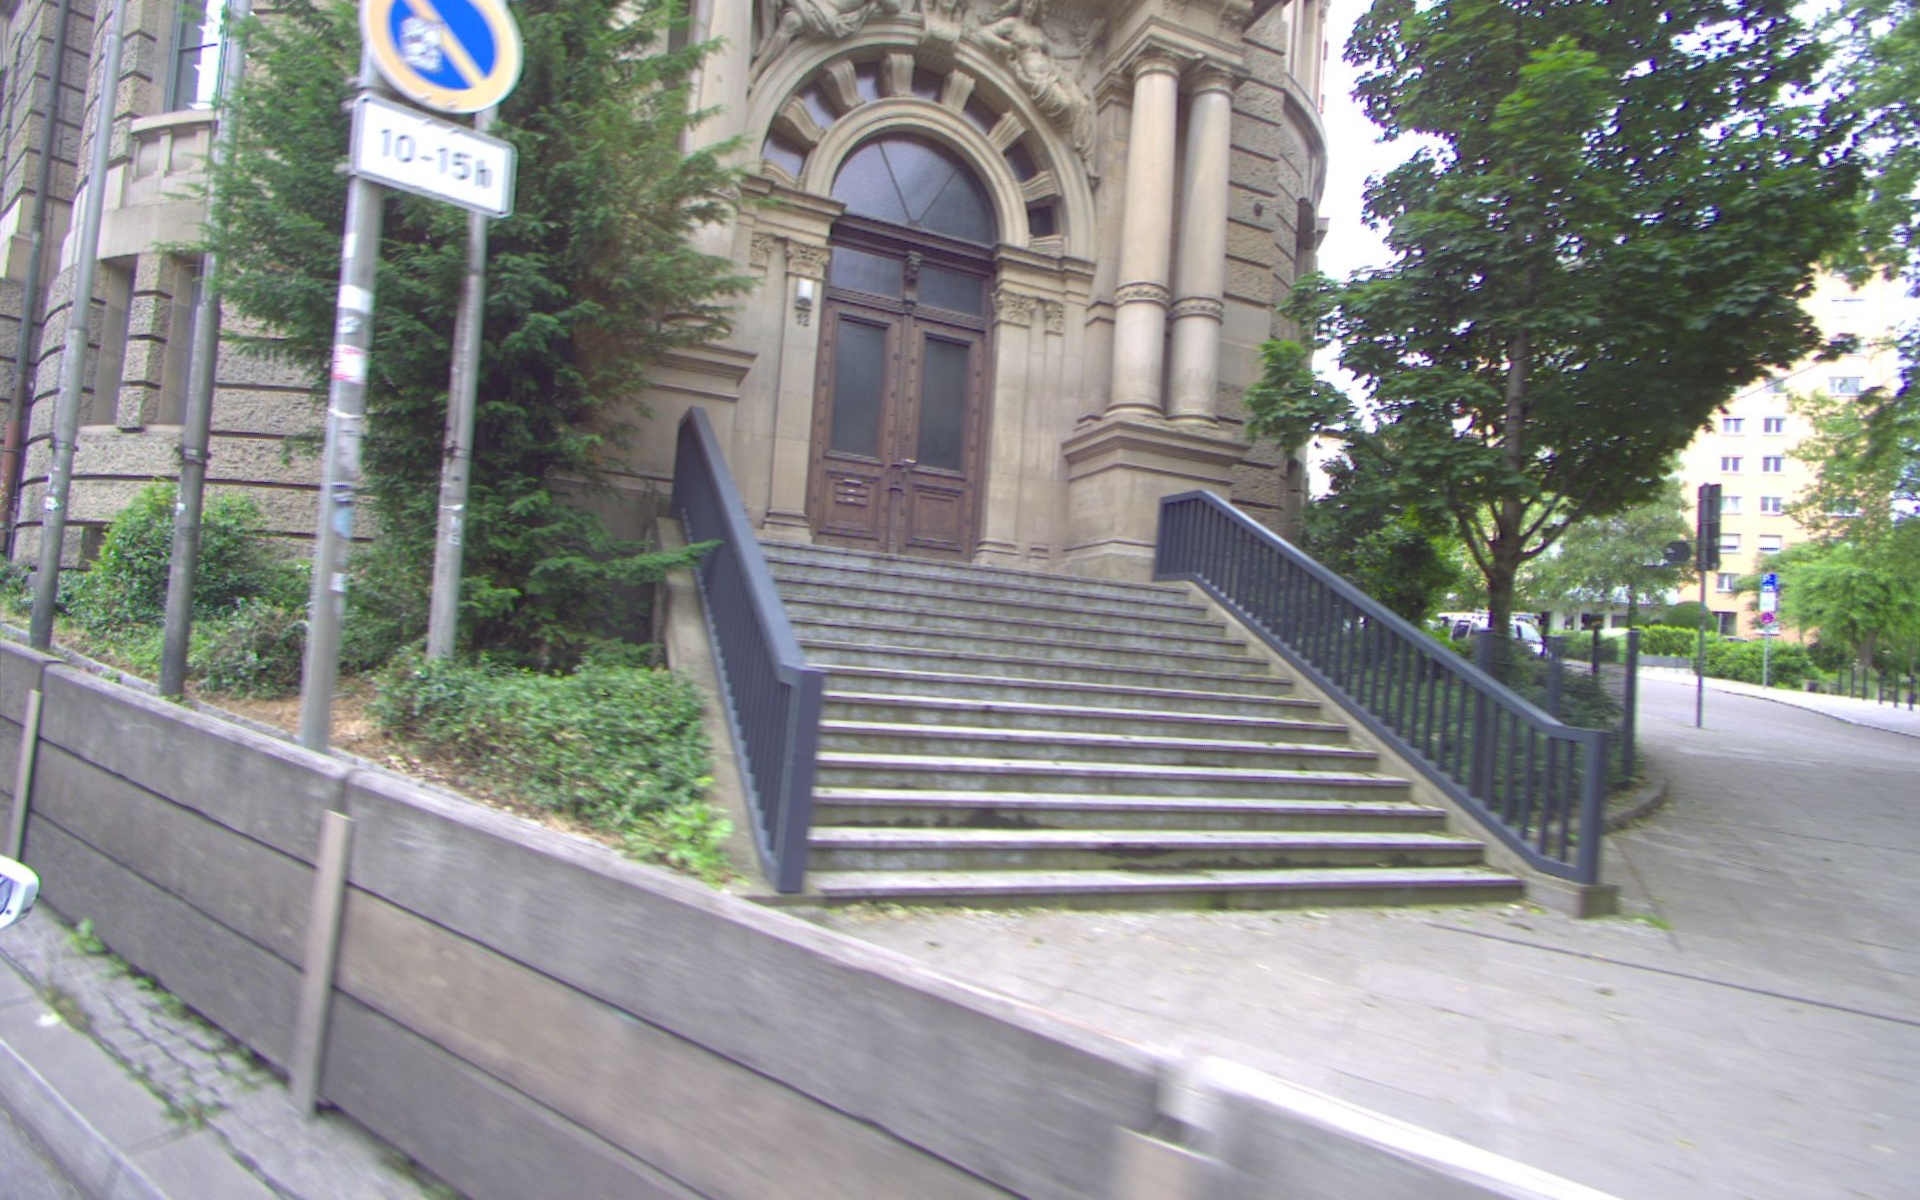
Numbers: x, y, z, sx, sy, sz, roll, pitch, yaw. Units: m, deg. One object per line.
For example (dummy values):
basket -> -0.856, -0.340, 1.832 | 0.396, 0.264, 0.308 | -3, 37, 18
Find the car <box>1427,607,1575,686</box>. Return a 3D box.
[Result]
car -> 16.178, 1.307, 30.456 | 2.136, 1.959, 5.216 | 4, 1, 8
